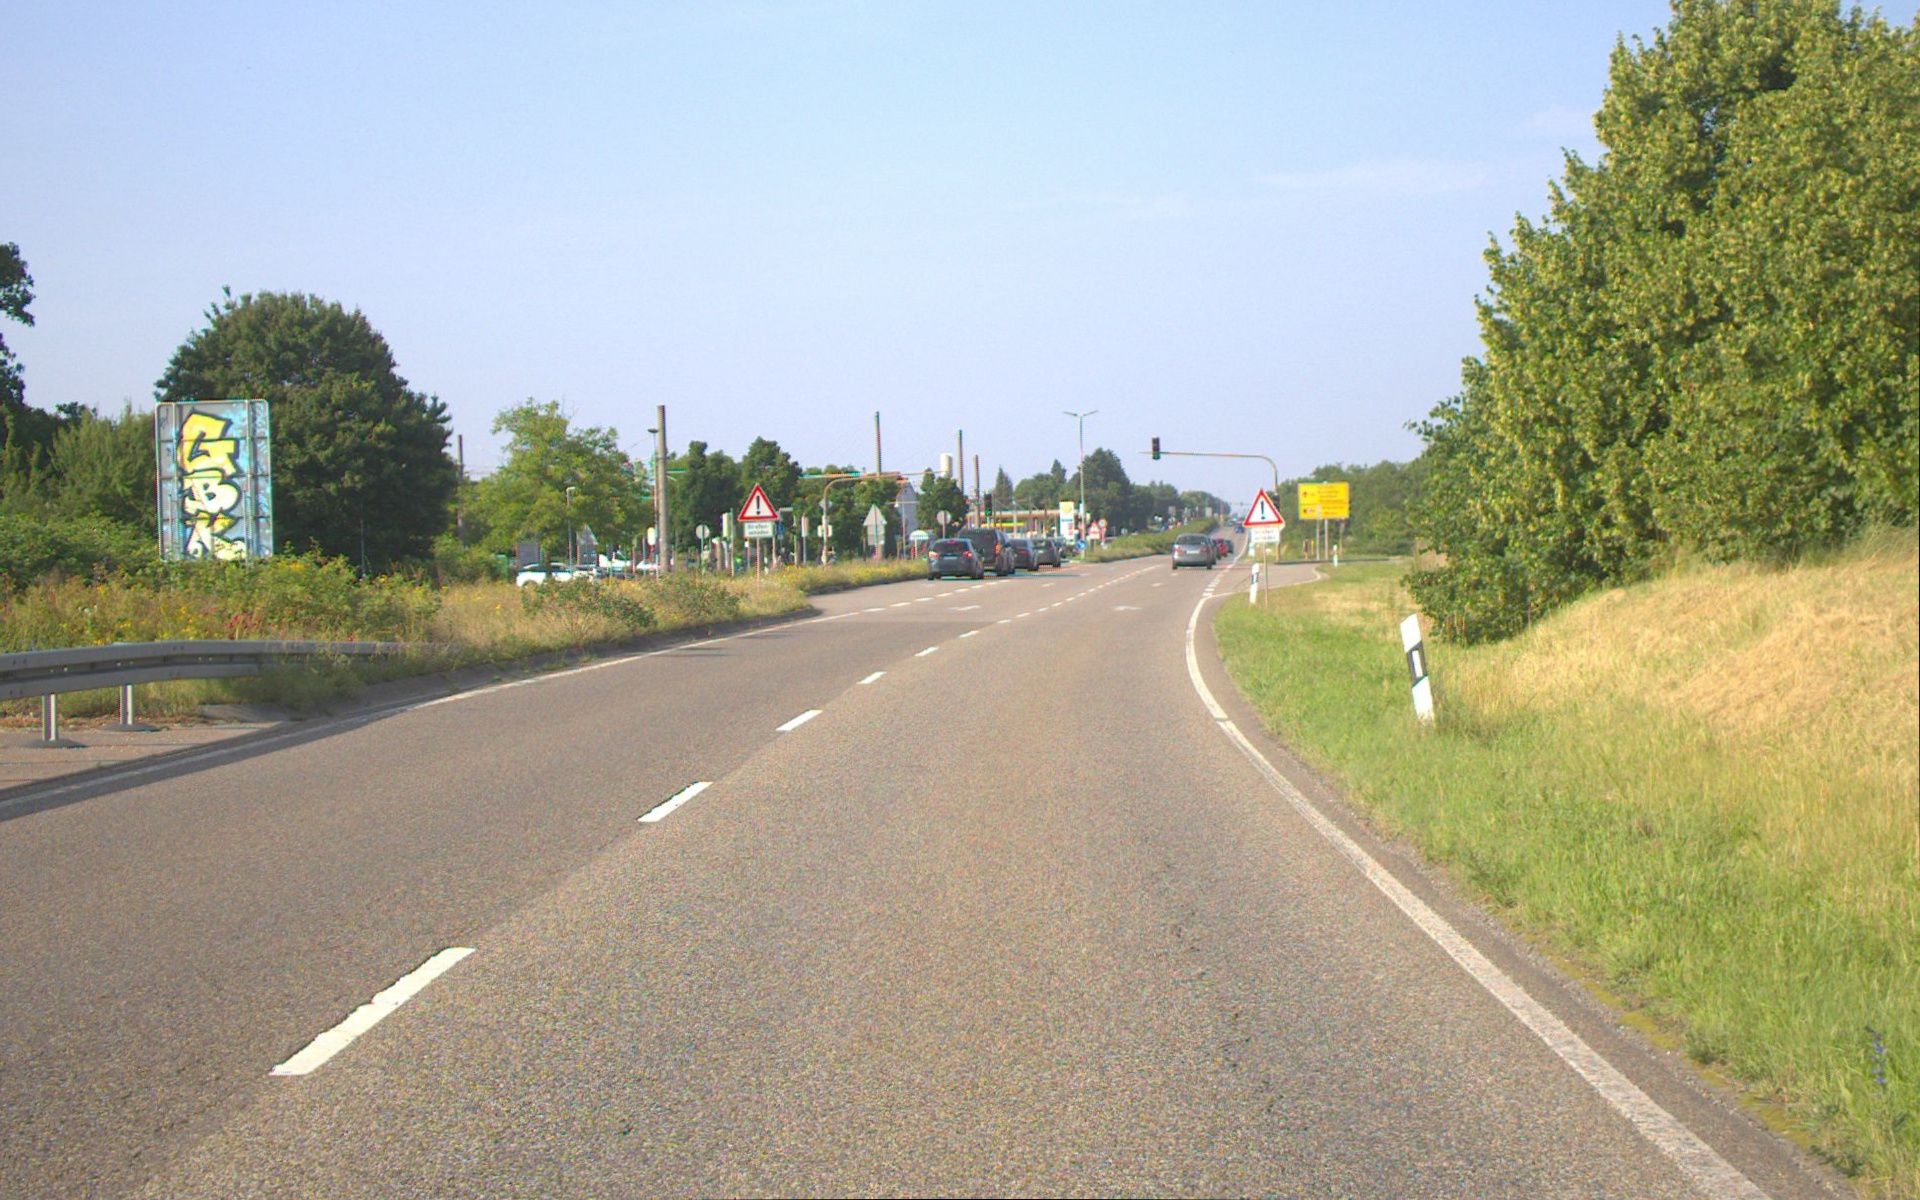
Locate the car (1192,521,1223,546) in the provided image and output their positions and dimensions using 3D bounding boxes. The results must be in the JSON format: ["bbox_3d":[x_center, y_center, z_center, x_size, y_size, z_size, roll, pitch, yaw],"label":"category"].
[{"bbox_3d":[16.453,-4.447,228.284,1.994,1.590,4.000,-1,1,5],"label":"car"}]

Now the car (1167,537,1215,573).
[{"bbox_3d":[10.335,-2.031,153.623,1.994,1.546,3.999,-1,1,6],"label":"car"}]

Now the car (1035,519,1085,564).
[{"bbox_3d":[4.845,-2.811,165.423,1.994,2.007,4.835,-1,-1,6],"label":"car"}]

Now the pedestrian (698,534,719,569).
[{"bbox_3d":[-12.388,-2.369,169.232,0.915,1.700,1.067,1,0,0],"label":"pedestrian"}]

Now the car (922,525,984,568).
[{"bbox_3d":[-0.227,-1.934,123.154,1.732,1.451,4.519,-1,1,6],"label":"car"}]

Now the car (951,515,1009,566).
[{"bbox_3d":[0.774,-2.266,130.012,1.732,1.849,4.519,-1,1,6],"label":"car"}]

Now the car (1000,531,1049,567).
[{"bbox_3d":[2.784,-2.206,147.584,1.770,1.466,4.014,-1,1,6],"label":"car"}]

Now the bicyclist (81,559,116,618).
[{"bbox_3d":[-20.694,-0.276,82.591,0.467,1.385,1.047,-1,1,5],"label":"bicyclist"}]
